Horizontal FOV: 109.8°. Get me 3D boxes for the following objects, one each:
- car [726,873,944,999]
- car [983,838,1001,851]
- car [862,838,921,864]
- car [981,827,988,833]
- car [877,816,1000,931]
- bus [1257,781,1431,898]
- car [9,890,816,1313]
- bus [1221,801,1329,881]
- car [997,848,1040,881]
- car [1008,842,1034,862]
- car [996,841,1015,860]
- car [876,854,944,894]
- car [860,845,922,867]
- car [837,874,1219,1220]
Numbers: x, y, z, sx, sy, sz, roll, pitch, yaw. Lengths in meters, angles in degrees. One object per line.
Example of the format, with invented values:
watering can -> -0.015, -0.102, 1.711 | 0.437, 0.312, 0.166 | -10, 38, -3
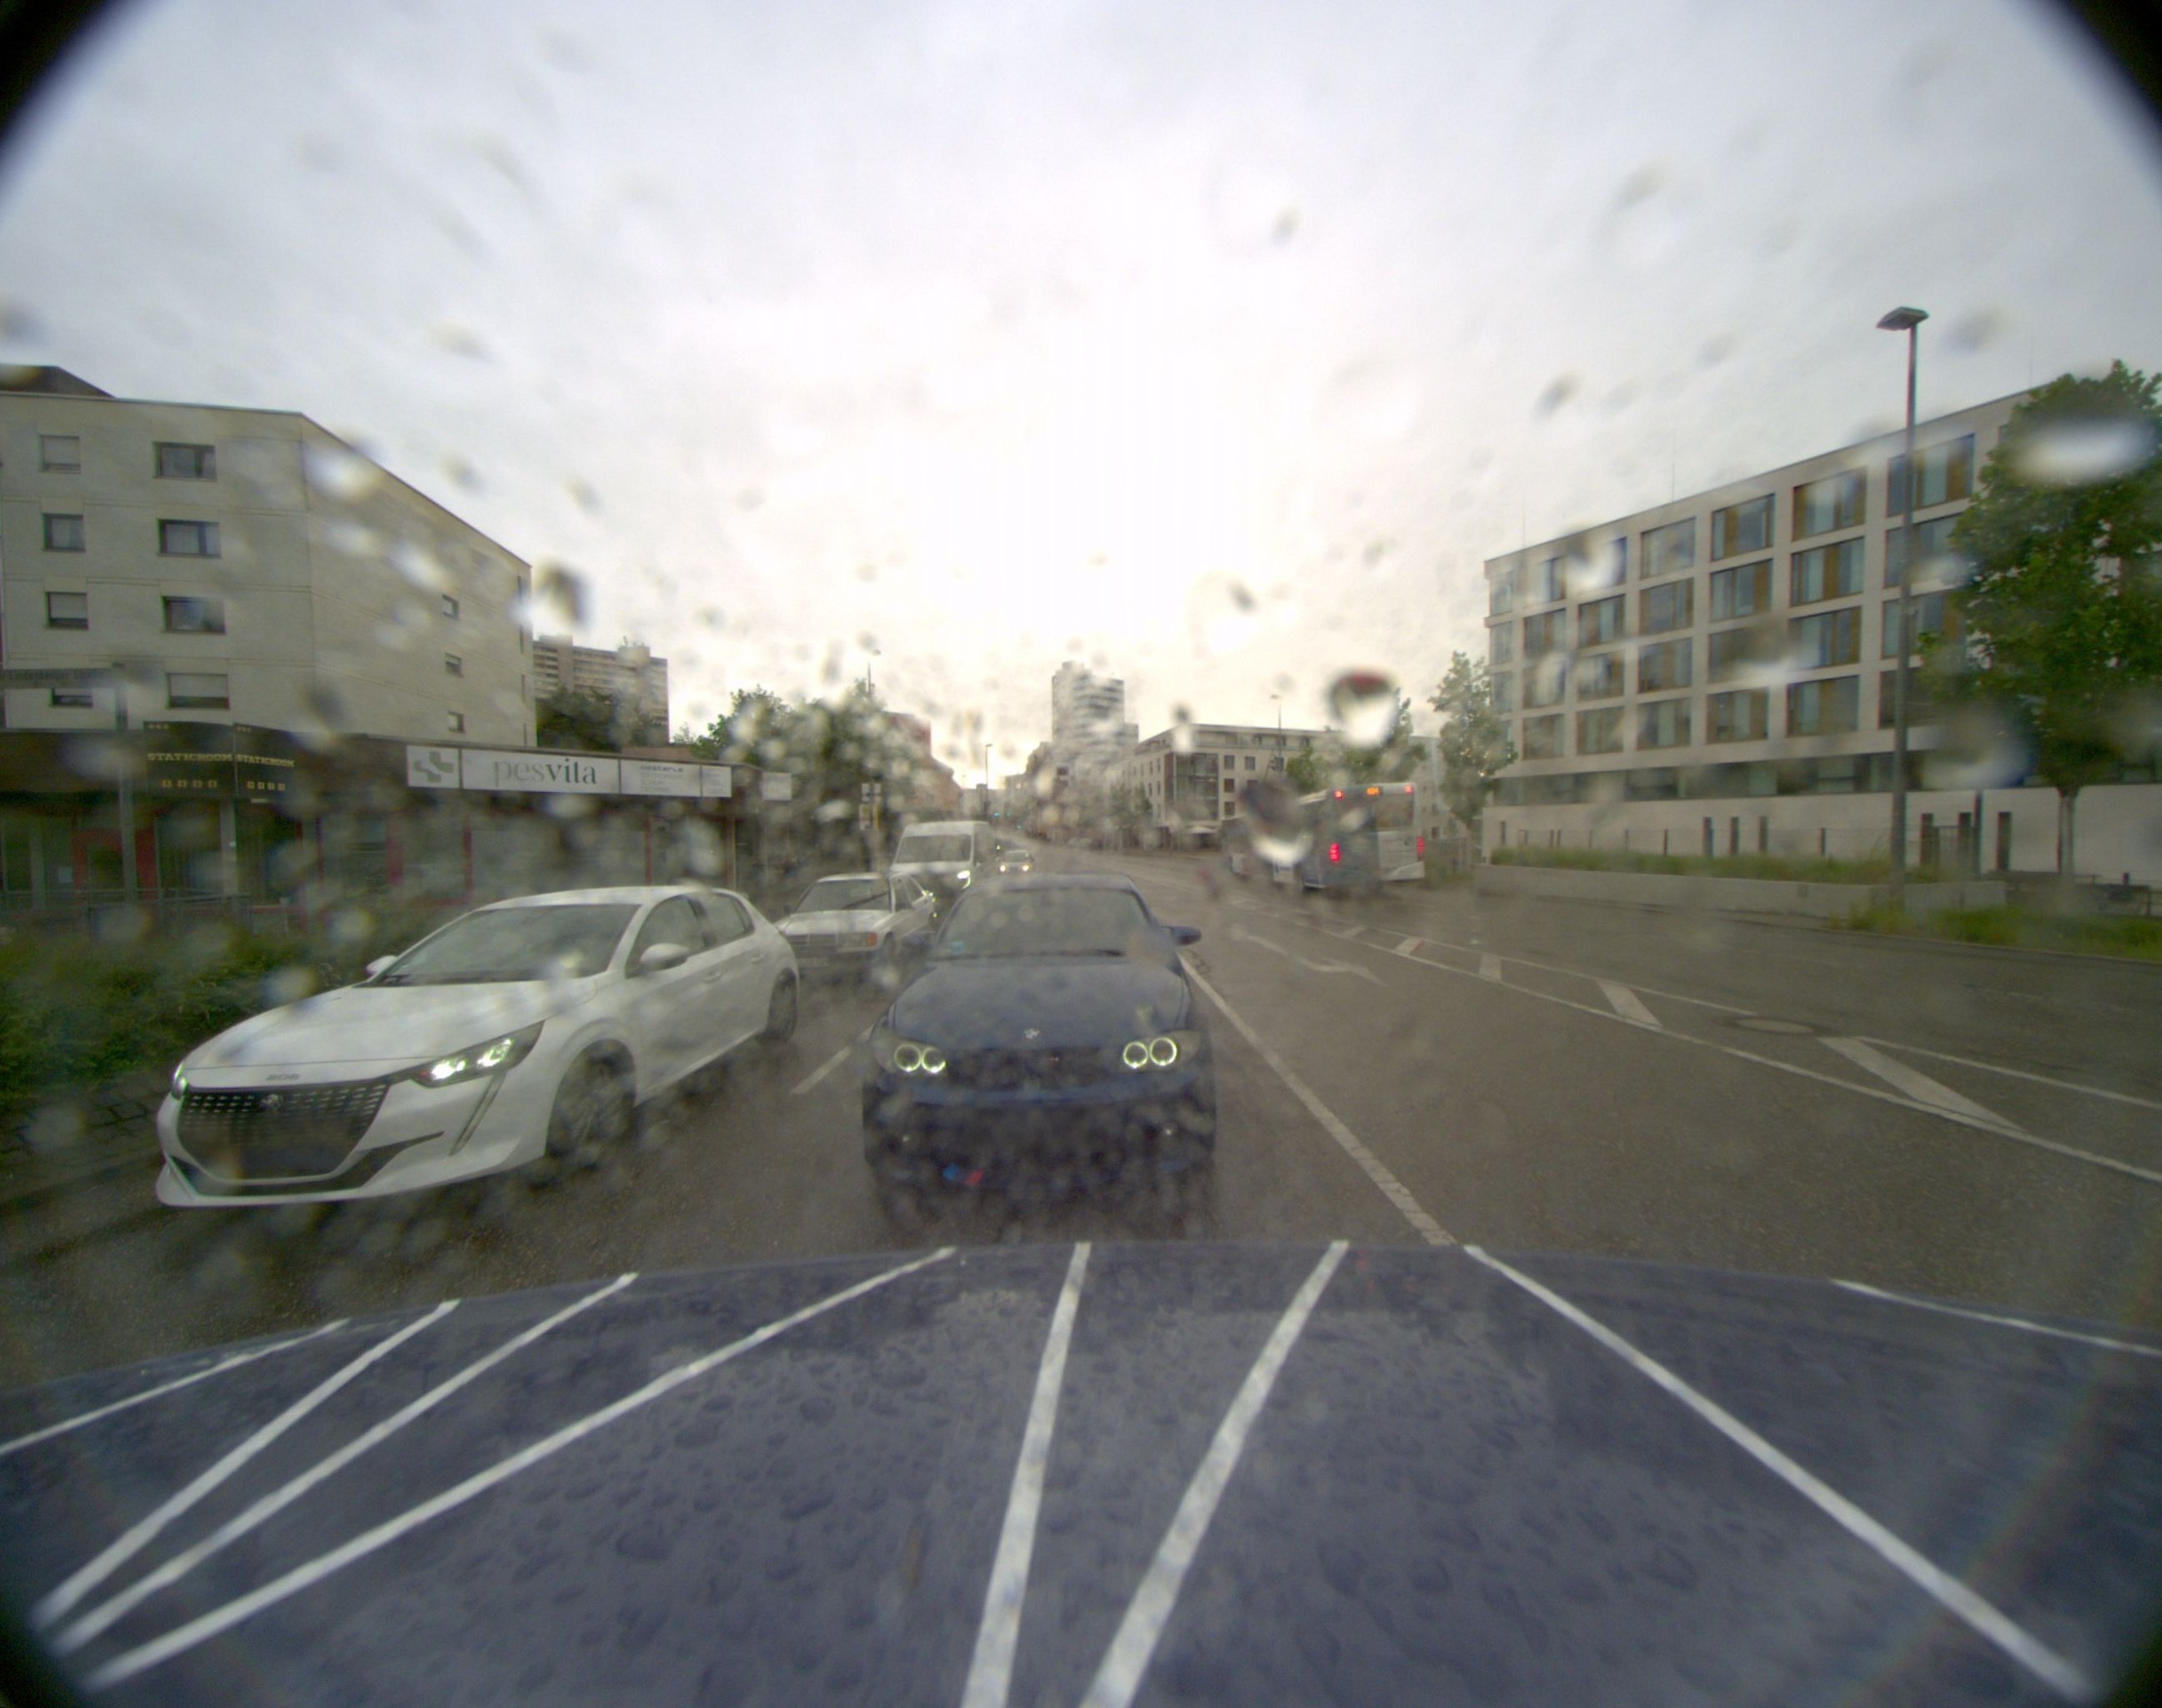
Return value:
car -> -3.364, 1.048, 11.319 | 1.788, 1.338, 4.162 | -2, 1, 1
car -> -11.852, -1.278, 101.652 | 1.879, 1.745, 4.000 | 1, 0, 1
car -> -13.769, -0.240, 55.333 | 4.000, 1.769, 1.882 | -1, 1, -10
car -> -26.844, -6.762, 211.439 | 1.666, 1.625, 3.801 | -2, 1, -11
car -> -3.480, 0.381, 19.962 | 2.197, 2.503, 6.120 | -1, 1, -2
bus -> 8.109, -0.443, 24.959 | 2.783, 3.096, 9.368 | 0, 1, 2
car -> -3.367, 1.084, 5.072 | 1.666, 1.407, 4.114 | -2, 1, 1
bus -> 8.400, -0.547, 34.073 | 2.798, 3.096, 8.883 | 0, 1, 2
car -> -3.154, 0.492, 39.046 | 1.803, 1.530, 3.999 | -2, 1, 1
car -> -5.137, -0.162, 65.574 | 1.999, 1.559, 3.998 | -2, 1, -1
car -> -8.423, -0.406, 84.950 | 2.000, 2.002, 3.997 | -1, 1, -6
car -> -7.018, 0.783, 31.549 | 1.788, 1.481, 4.000 | -2, 1, 1
car -> -13.201, 0.114, 52.935 | 4.000, 1.419, 1.882 | -1, 1, -10
car -> -0.282, 0.927, 5.458 | 1.693, 1.380, 3.999 | -2, 1, -1
